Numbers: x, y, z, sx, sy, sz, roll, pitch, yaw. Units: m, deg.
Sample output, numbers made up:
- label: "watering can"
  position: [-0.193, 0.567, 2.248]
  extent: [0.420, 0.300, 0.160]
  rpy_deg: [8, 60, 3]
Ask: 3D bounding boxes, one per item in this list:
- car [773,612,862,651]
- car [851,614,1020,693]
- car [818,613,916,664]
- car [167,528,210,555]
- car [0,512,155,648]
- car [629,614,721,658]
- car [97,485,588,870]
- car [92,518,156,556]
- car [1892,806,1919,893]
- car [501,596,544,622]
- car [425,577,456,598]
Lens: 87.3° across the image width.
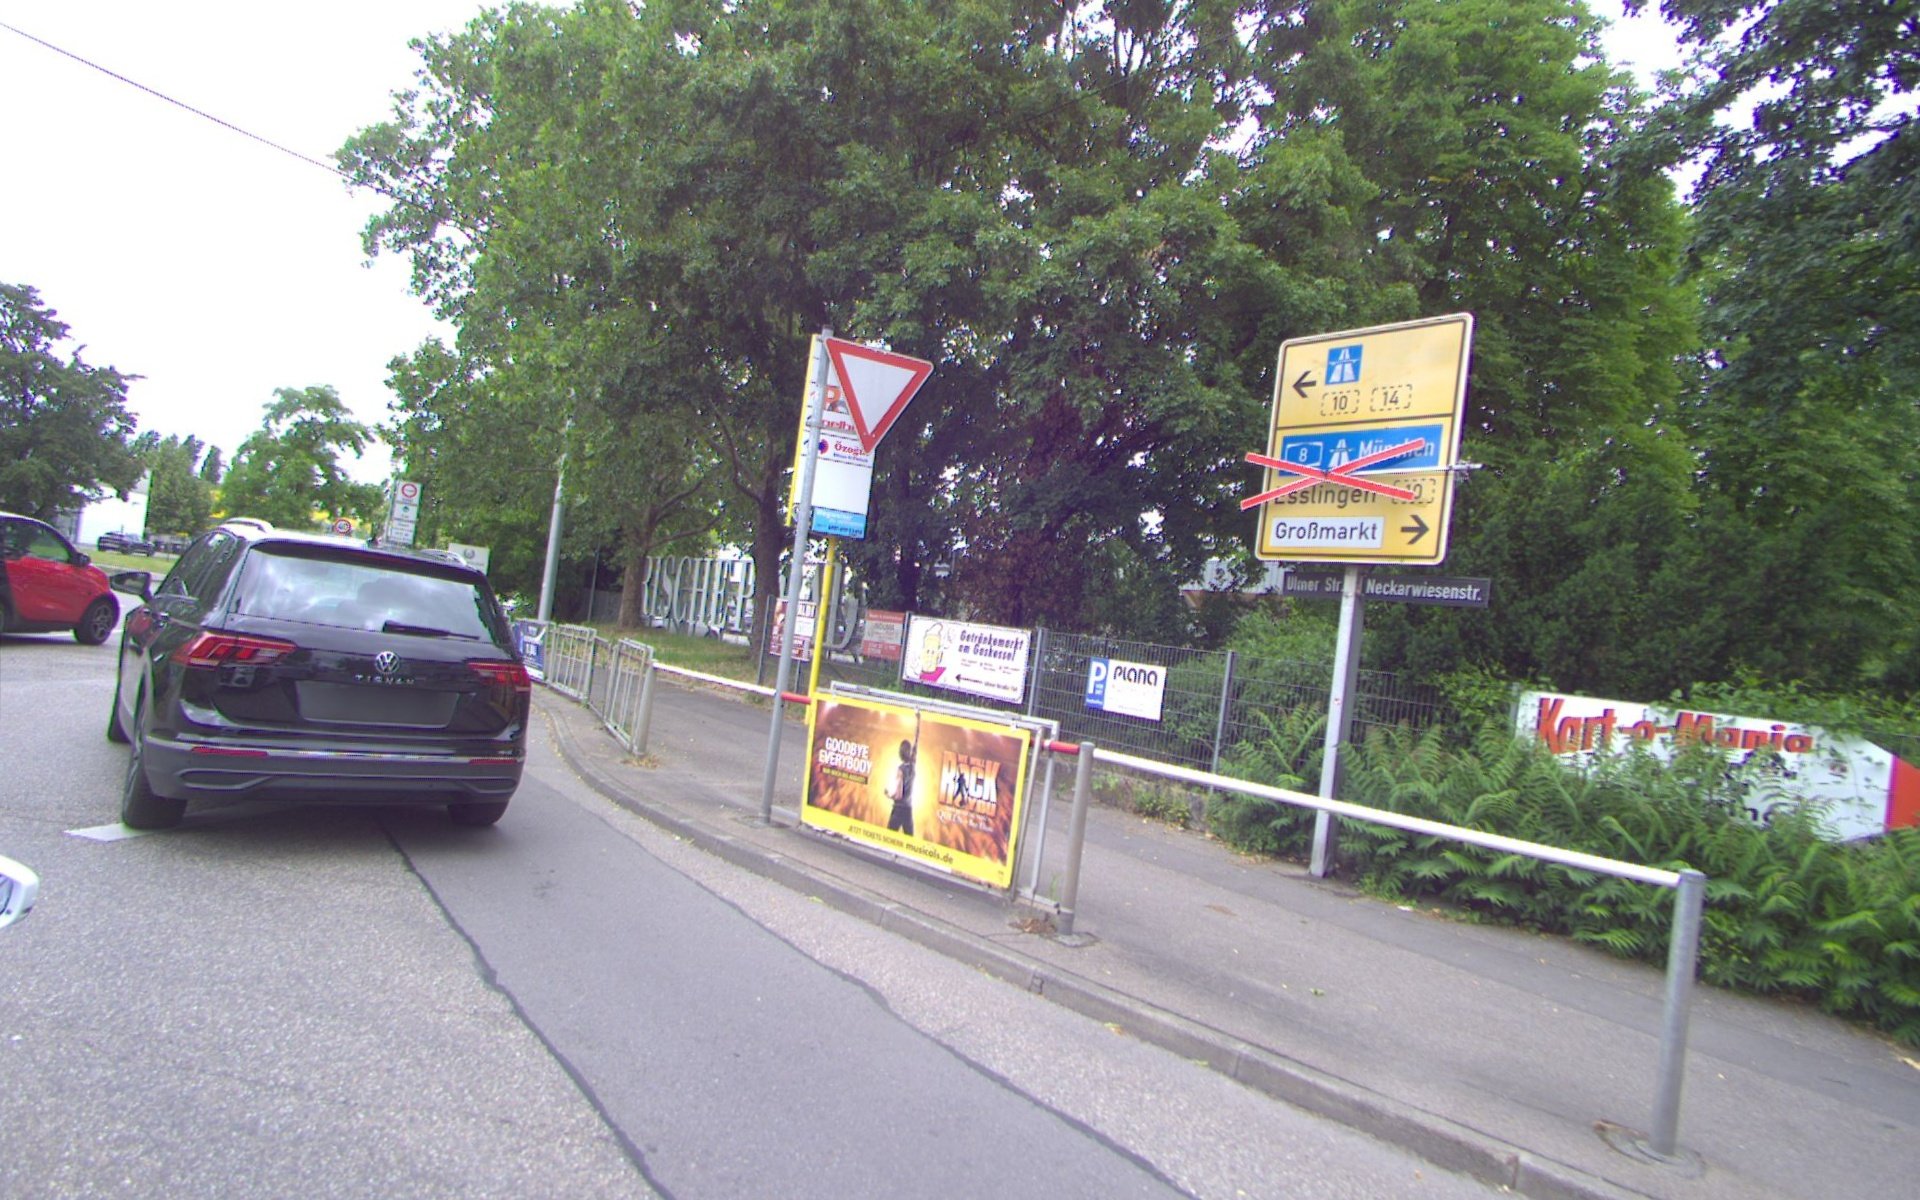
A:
- label: "car"
  position: [-8.215, 1.823, 58.183]
  extent: [4.604, 1.576, 1.980]
  rpy_deg: [9, -3, -37]
- label: "car"
  position: [-0.660, 1.576, 29.188]
  extent: [4.488, 1.630, 1.867]
  rpy_deg: [10, -3, -35]
- label: "car"
  position: [-4.830, 2.013, 52.768]
  extent: [4.604, 2.036, 1.980]
  rpy_deg: [9, -2, -37]
- label: "car"
  position: [-74.034, -5.562, 96.608]
  extent: [1.944, 2.036, 4.202]
  rpy_deg: [9, -3, -20]
- label: "car"
  position: [-11.599, -0.306, 12.004]
  extent: [1.688, 1.481, 3.017]
  rpy_deg: [8, -2, -9]
- label: "car"
  position: [-13.177, 1.671, 46.643]
  extent: [3.705, 1.522, 1.465]
  rpy_deg: [10, -3, -40]
- label: "car"
  position: [-4.190, 0.332, 6.457]
  extent: [1.839, 1.653, 4.137]
  rpy_deg: [11, -3, -41]
- label: "car"
  position: [-58.150, -4.341, 70.067]
  extent: [1.944, 2.036, 4.202]
  rpy_deg: [9, -3, -20]
- label: "car"
  position: [16.498, 4.109, 15.993]
  extent: [3.670, 1.263, 1.694]
  rpy_deg: [9, -2, -35]
- label: "car"
  position: [-31.771, 0.660, 73.165]
  extent: [1.687, 1.506, 3.373]
  rpy_deg: [8, -3, -5]
- label: "car"
  position: [-45.836, -1.066, 88.851]
  extent: [2.022, 1.553, 3.922]
  rpy_deg: [8, -2, -23]
